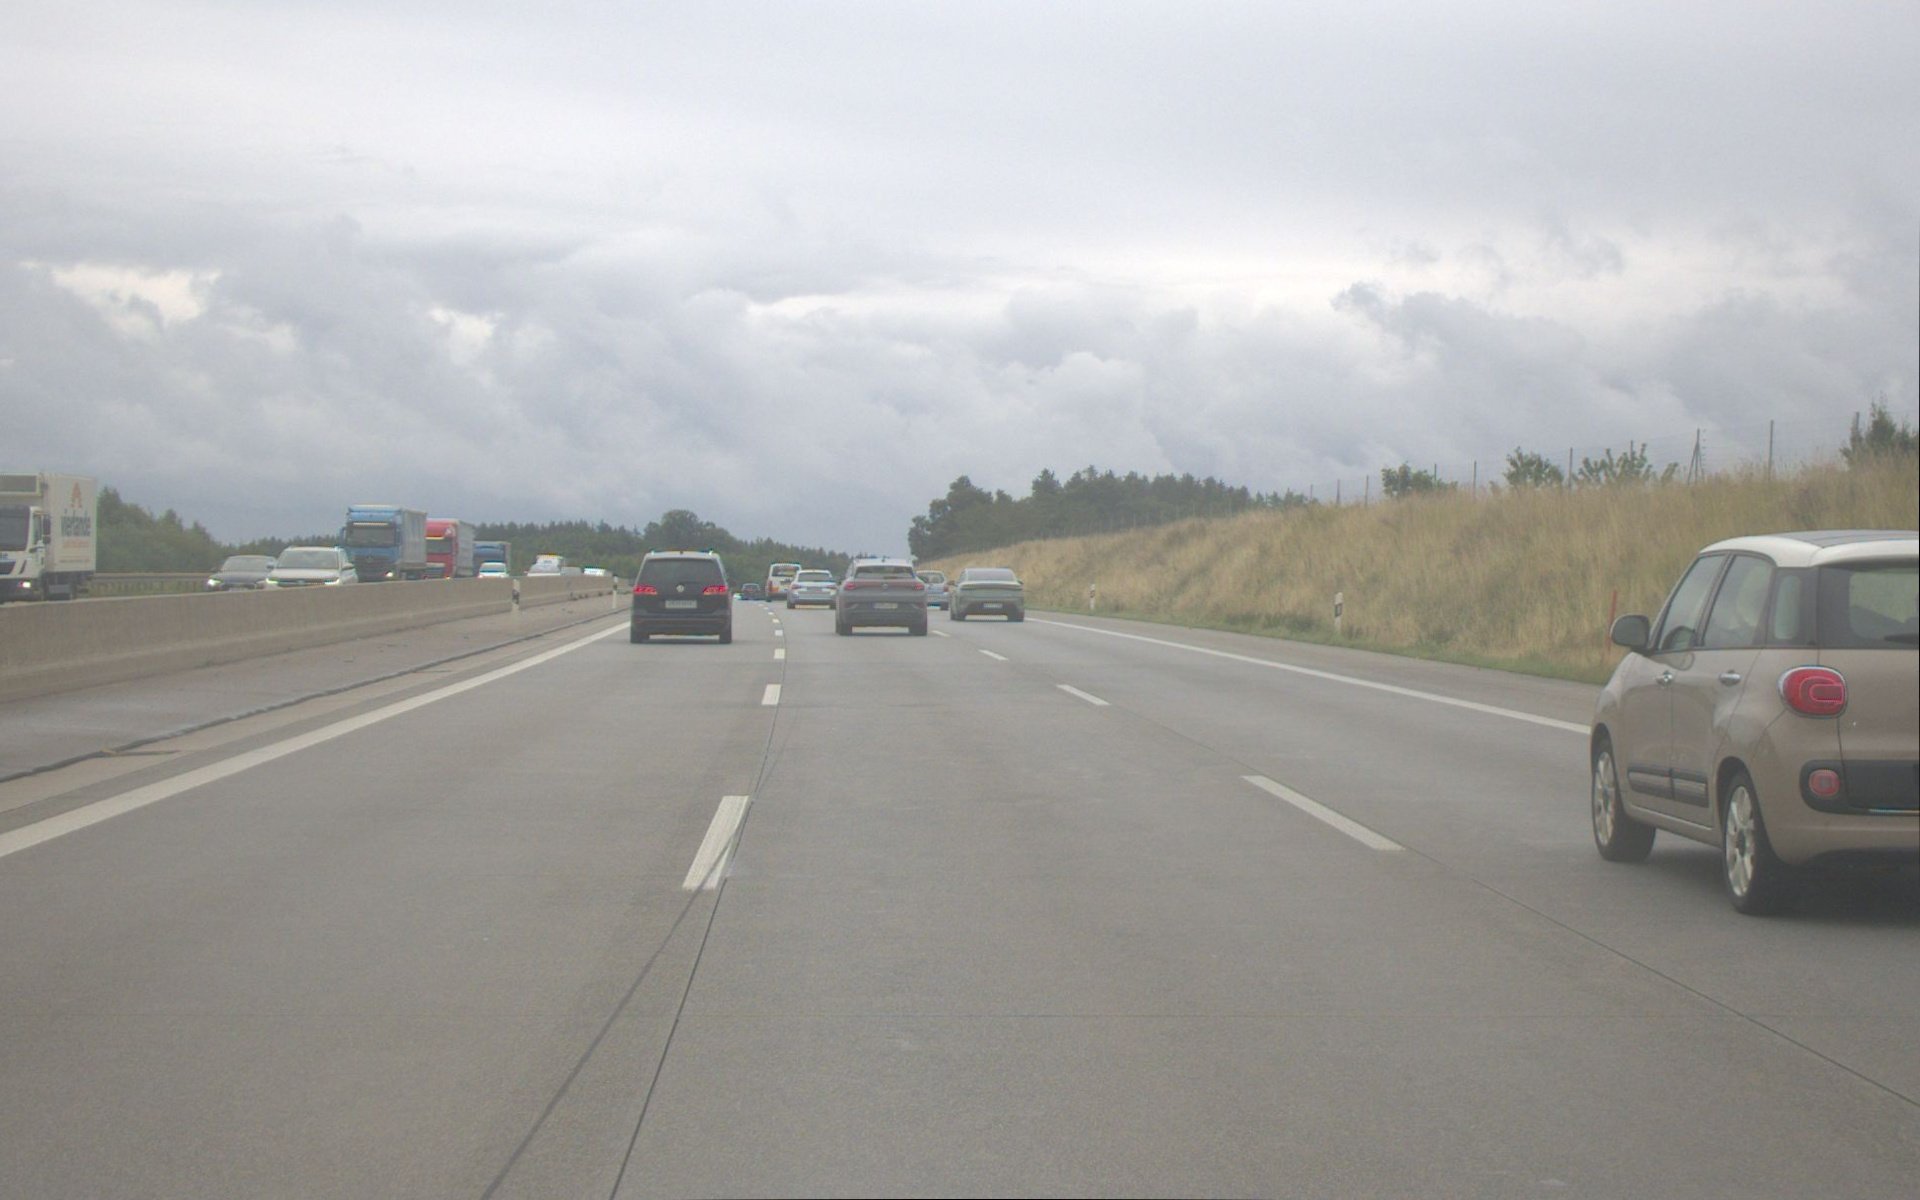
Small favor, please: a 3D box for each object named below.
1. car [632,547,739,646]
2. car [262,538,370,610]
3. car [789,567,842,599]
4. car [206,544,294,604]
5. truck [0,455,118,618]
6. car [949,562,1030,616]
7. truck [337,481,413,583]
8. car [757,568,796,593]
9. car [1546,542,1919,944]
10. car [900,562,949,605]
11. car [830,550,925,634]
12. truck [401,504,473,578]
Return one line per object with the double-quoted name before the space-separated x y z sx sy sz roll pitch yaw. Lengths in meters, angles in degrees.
"car" -5.065 -0.086 63.802 1.785 1.741 3.915 1 1 -2
"car" -14.597 -0.606 78.104 1.742 1.561 4.499 1 1 -2
"car" -5.290 -0.620 126.067 1.797 1.119 4.000 1 1 0
"car" -19.139 -0.720 92.816 1.629 1.561 4.411 1 1 -2
"truck" -23.437 -1.587 86.007 2.898 3.850 8.901 1 1 -3
"car" 0.796 -0.326 95.248 2.014 1.441 4.745 1 1 -2
"truck" -27.372 -3.155 160.927 2.927 4.660 5.233 1 1 -4
"car" -9.361 -0.980 175.262 1.797 1.217 4.000 1 1 0
"car" 4.109 0.552 16.037 1.785 1.599 4.571 1 1 -2
"car" -1.312 -0.603 126.468 1.485 1.465 3.505 3 0 -4
"car" -1.793 -0.192 73.119 1.898 1.684 5.267 1 1 -3
"truck" -30.412 -3.400 200.007 3.469 4.168 6.494 1 1 -3
